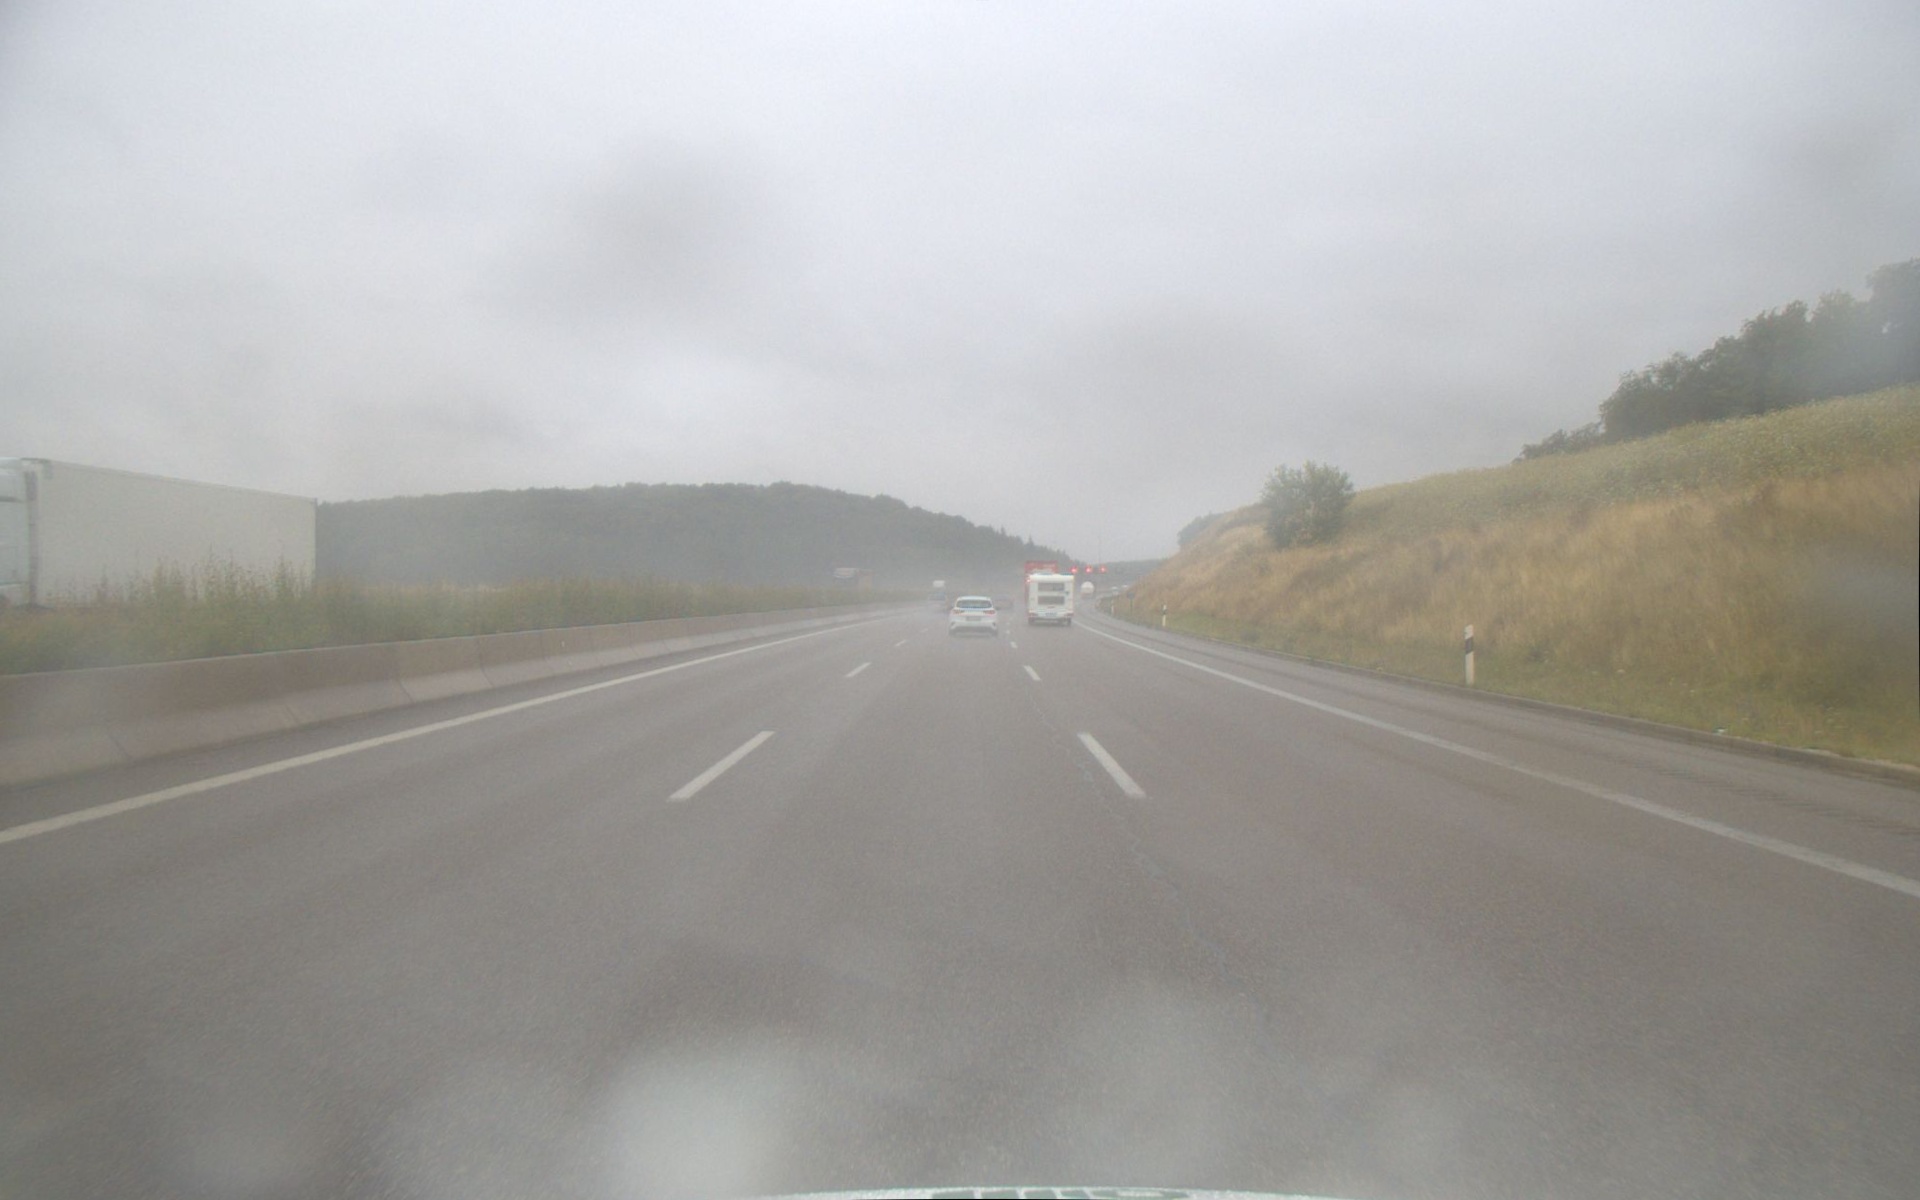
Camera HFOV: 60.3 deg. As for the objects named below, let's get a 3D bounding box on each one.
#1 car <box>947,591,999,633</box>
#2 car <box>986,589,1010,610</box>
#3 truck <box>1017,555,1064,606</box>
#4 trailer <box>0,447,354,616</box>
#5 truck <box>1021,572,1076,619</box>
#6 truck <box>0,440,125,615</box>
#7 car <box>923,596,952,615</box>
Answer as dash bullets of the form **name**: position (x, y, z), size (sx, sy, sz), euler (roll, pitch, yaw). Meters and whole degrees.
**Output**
- **car**: position (0.470, 0.442, 60.353), size (1.829, 1.488, 4.000), euler (1, -1, 1)
- **car**: position (3.125, -0.044, 137.566), size (1.952, 1.646, 4.001), euler (1, 0, 1)
- **truck**: position (6.410, -1.548, 131.001), size (3.453, 3.808, 11.431), euler (1, 1, 3)
- **trailer**: position (-19.318, -1.309, 40.874), size (2.927, 3.199, 15.717), euler (1, -1, 0)
- **truck**: position (4.408, -0.221, 82.982), size (2.359, 2.292, 4.691), euler (0, 0, -2)
- **truck**: position (-19.228, -1.353, 32.330), size (2.932, 3.179, 5.595), euler (1, -1, 0)
- **car**: position (-1.556, 0.397, 112.268), size (1.787, 1.177, 4.210), euler (1, -1, -3)
